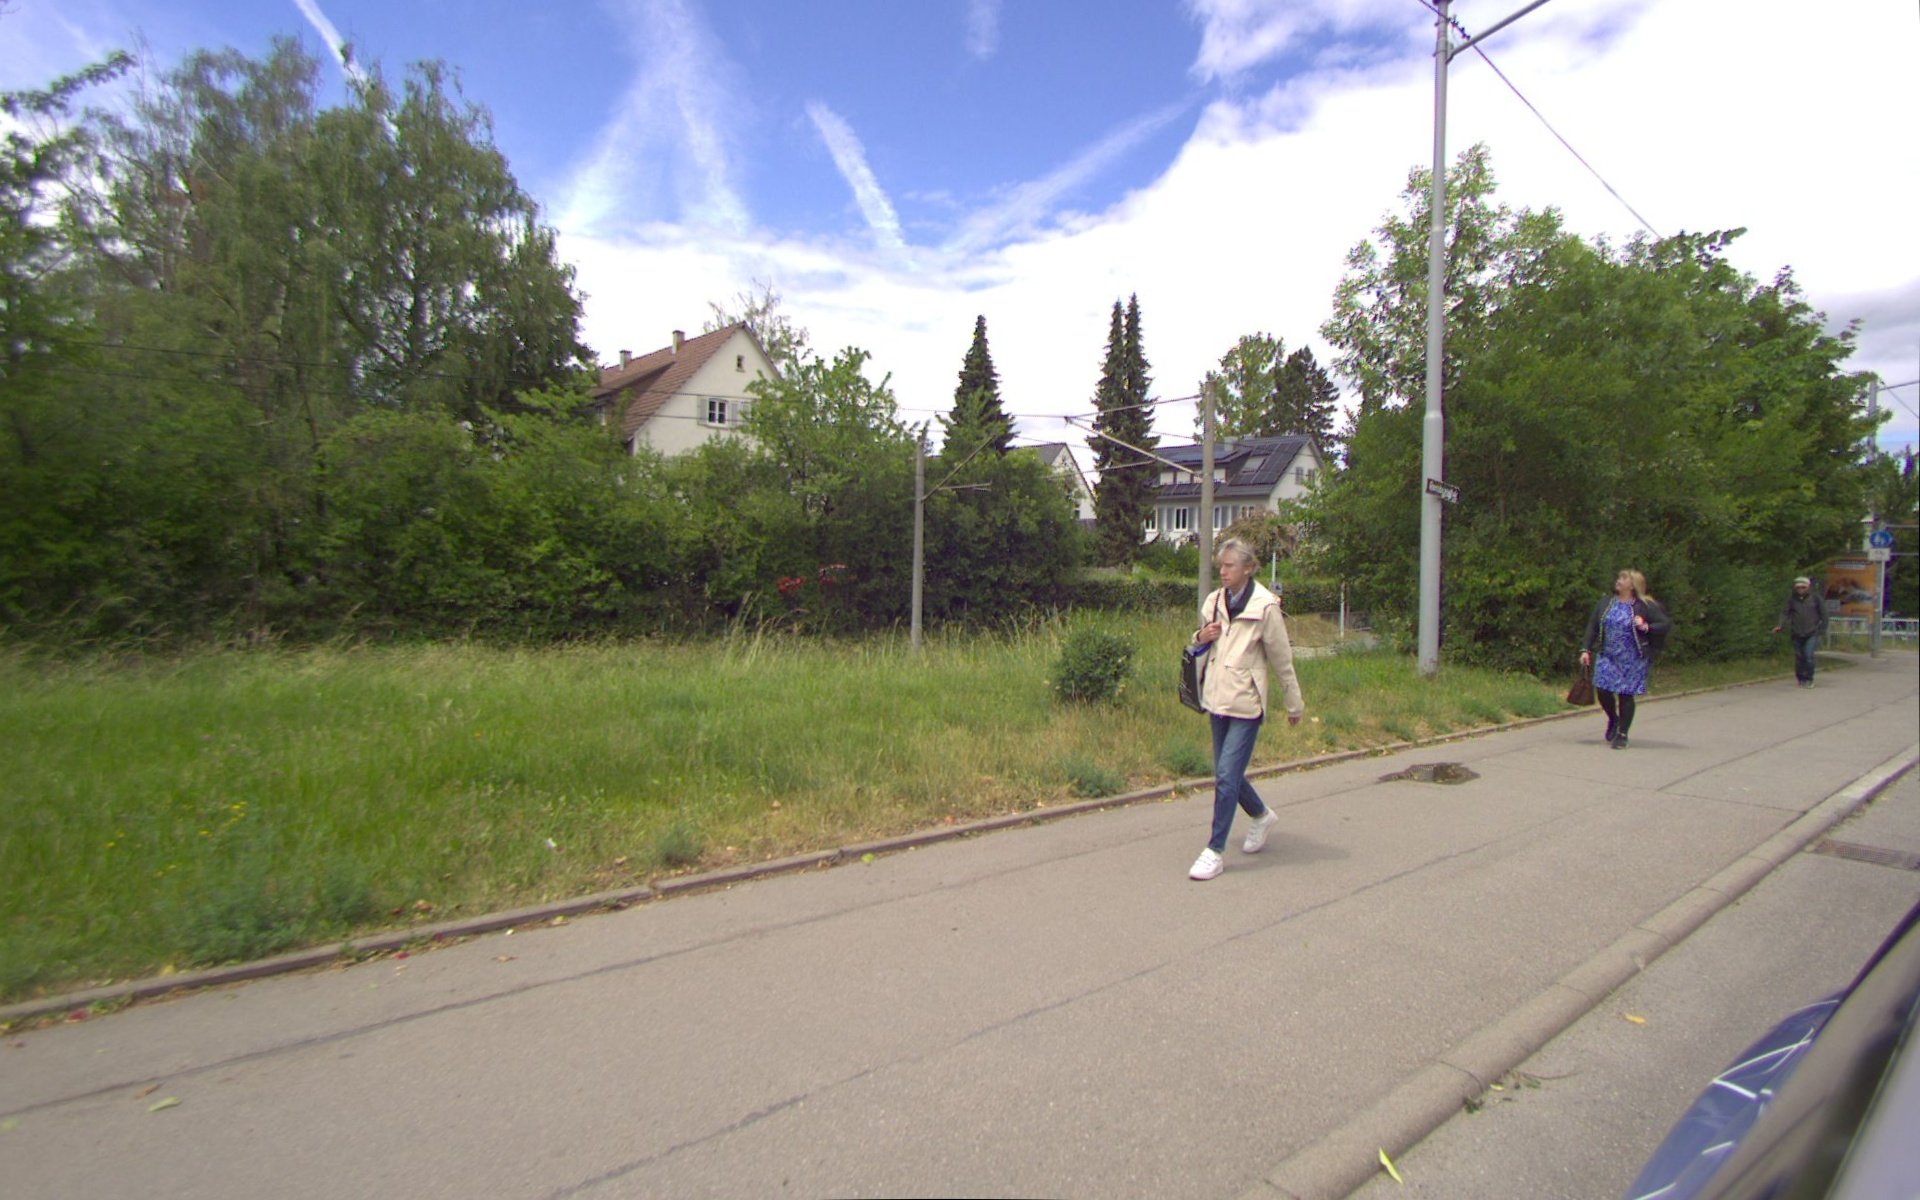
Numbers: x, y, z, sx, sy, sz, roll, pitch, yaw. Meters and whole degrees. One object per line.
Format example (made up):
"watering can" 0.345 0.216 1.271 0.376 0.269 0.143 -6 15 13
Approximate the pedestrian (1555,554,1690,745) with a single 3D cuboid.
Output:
"pedestrian" 6.197 0.430 9.472 0.752 1.680 0.842 0 0 -35

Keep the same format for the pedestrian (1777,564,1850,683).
"pedestrian" 14.205 0.375 16.847 0.786 1.906 0.748 0 0 -33

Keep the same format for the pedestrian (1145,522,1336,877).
"pedestrian" 1.456 0.467 5.278 0.677 1.680 0.688 0 0 -35

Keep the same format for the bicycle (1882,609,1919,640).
"bicycle" 33.627 0.859 35.296 0.548 1.061 2.094 0 -1 -36

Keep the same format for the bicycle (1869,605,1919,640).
"bicycle" 32.481 0.784 34.521 0.536 1.094 2.095 0 3 -36
